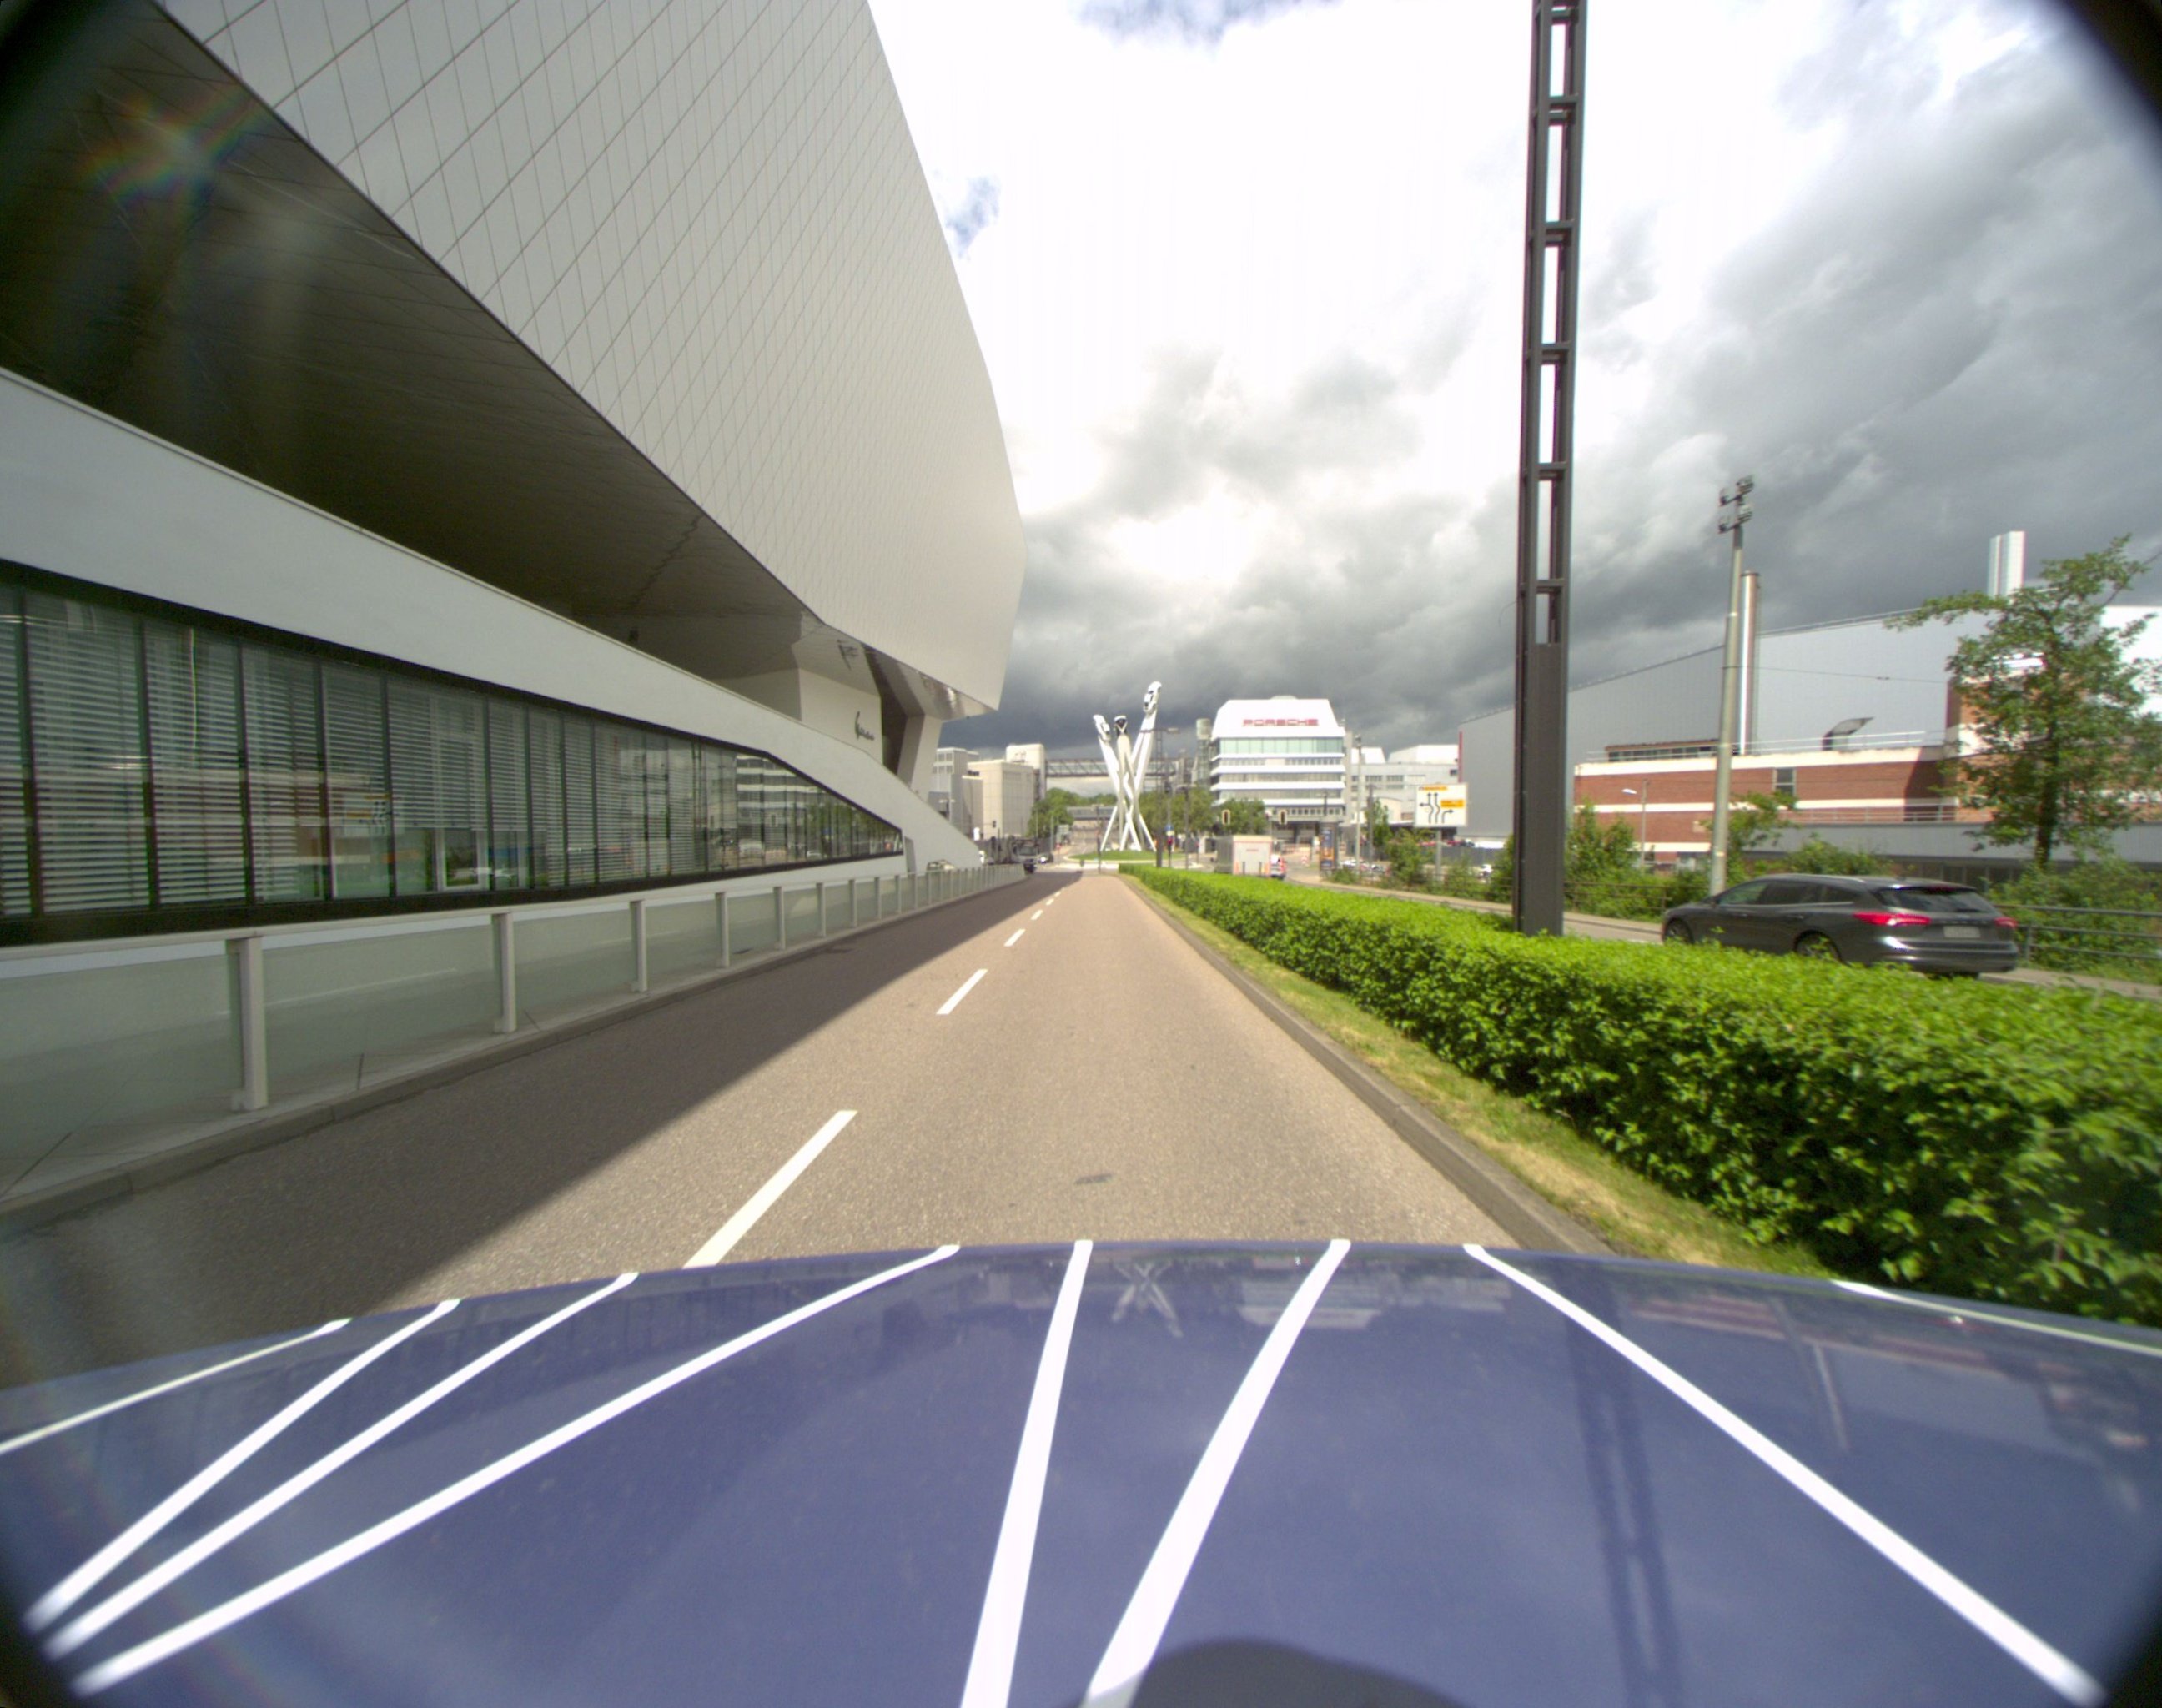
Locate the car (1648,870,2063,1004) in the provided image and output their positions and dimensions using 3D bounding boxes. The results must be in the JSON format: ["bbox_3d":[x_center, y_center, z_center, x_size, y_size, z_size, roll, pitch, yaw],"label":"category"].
[{"bbox_3d":[11.078,1.048,11.496,1.844,1.499,4.562,0,0,4],"label":"car"}]

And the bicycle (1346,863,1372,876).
[{"bbox_3d":[21.025,1.154,57.407,1.952,0.983,0.620,0,0,-23],"label":"bicycle"}]

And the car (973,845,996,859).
[{"bbox_3d":[-13.083,-0.301,102.992,2.162,1.899,5.306,-1,1,3],"label":"car"}]

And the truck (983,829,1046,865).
[{"bbox_3d":[-7.443,-0.720,82.765,2.849,3.669,10.728,-1,1,-28],"label":"truck"}]

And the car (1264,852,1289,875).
[{"bbox_3d":[16.968,0.791,66.183,1.996,1.946,4.632,0,1,13],"label":"car"}]

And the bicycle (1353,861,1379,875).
[{"bbox_3d":[21.288,1.039,56.746,1.952,0.983,0.620,0,0,-23],"label":"bicycle"}]

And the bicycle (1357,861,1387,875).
[{"bbox_3d":[21.324,1.028,55.673,1.950,0.983,0.621,0,0,-8],"label":"bicycle"}]

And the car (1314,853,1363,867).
[{"bbox_3d":[27.889,0.672,82.476,4.776,1.477,2.051,0,1,11],"label":"car"}]

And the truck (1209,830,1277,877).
[{"bbox_3d":[10.713,0.103,51.156,2.862,2.840,9.380,0,-1,2],"label":"truck"}]

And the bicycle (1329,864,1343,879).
[{"bbox_3d":[17.332,1.163,51.636,0.520,0.983,1.951,0,0,7],"label":"bicycle"}]

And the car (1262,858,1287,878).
[{"bbox_3d":[15.106,1.072,59.449,1.799,1.414,4.496,1,1,13],"label":"car"}]

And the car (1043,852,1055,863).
[{"bbox_3d":[-4.768,0.566,114.515,1.586,1.630,3.803,0,0,1],"label":"car"}]

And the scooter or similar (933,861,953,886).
[{"bbox_3d":[-7.446,1.034,41.043,0.708,1.236,1.952,-1,1,0],"label":"scooter or similar"}]
